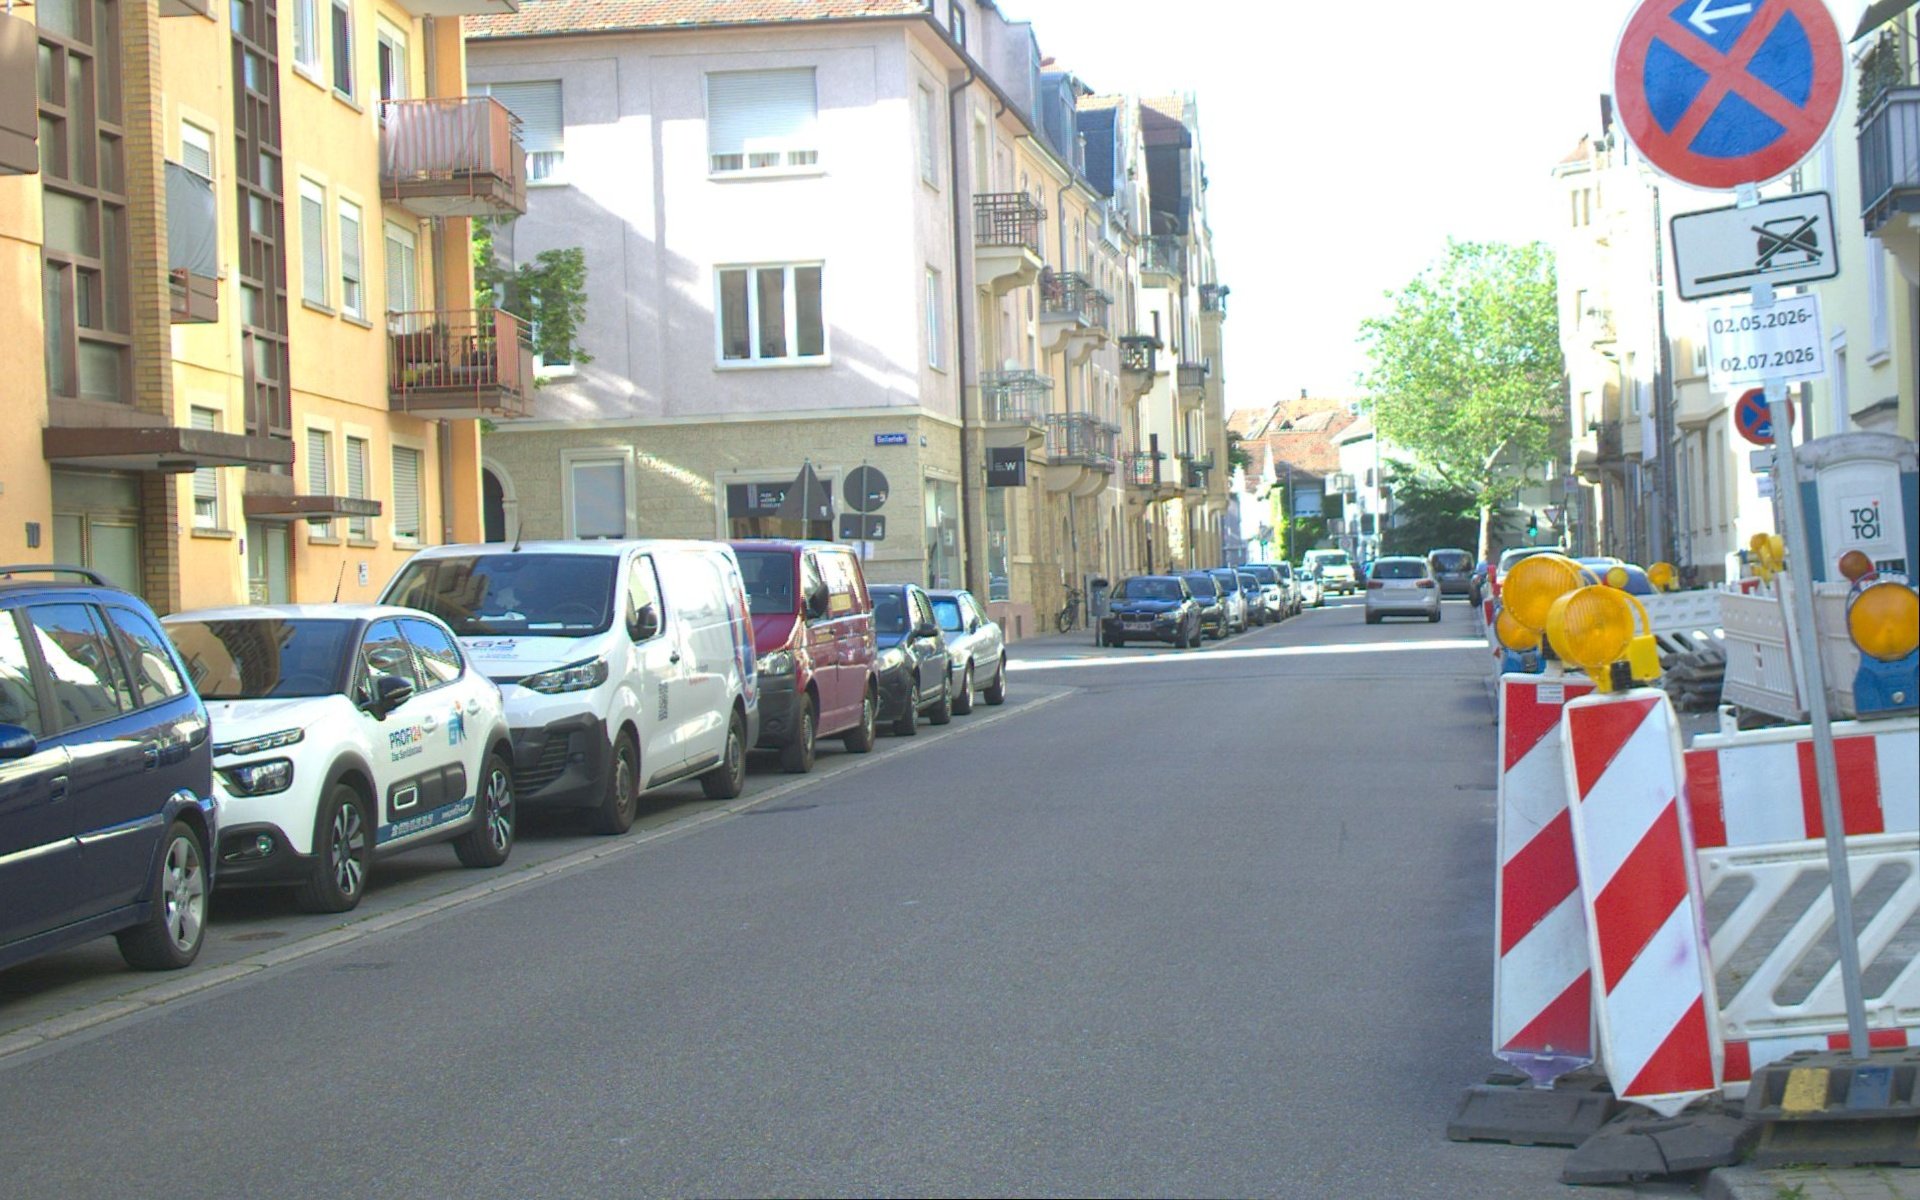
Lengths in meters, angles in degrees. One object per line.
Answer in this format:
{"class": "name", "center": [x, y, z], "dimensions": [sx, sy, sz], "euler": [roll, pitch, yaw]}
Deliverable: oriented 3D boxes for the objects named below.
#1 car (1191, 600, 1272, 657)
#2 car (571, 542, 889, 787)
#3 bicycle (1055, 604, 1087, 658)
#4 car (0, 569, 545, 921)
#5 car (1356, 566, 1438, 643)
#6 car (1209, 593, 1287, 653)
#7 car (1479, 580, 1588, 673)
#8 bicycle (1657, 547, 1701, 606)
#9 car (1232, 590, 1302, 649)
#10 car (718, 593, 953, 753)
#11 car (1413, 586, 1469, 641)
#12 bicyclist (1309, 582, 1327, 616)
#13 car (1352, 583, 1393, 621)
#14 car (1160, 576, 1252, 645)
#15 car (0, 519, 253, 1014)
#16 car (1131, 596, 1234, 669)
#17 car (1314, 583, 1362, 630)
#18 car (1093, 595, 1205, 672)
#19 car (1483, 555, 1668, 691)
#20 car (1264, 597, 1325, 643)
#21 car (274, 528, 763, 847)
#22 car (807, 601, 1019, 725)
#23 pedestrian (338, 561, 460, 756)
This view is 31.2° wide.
{"class": "car", "center": [7.450, 0.803, 94.120], "dimensions": [1.979, 1.477, 4.326], "euler": [1, -1, 7]}
{"class": "car", "center": [-1.868, 0.510, 29.545], "dimensions": [1.763, 1.918, 4.933], "euler": [0, 0, 8]}
{"class": "bicycle", "center": [2.717, 0.742, 83.760], "dimensions": [0.541, 1.297, 1.866], "euler": [0, 0, 9]}
{"class": "car", "center": [-3.591, 0.671, 18.046], "dimensions": [1.763, 1.615, 4.293], "euler": [0, 0, 8]}
{"class": "car", "center": [11.384, 0.139, 89.429], "dimensions": [2.004, 1.907, 4.485], "euler": [1, -1, 8]}
{"class": "car", "center": [8.311, 0.677, 98.794], "dimensions": [2.004, 1.613, 4.486], "euler": [1, -1, 7]}
{"class": "car", "center": [11.050, 0.545, 66.041], "dimensions": [1.914, 1.639, 4.771], "euler": [-2, -2, 10]}
{"class": "bicycle", "center": [15.669, -0.507, 74.997], "dimensions": [0.761, 1.242, 2.591], "euler": [-1, 0, 8]}
{"class": "car", "center": [9.811, 0.644, 109.668], "dimensions": [2.004, 1.782, 4.486], "euler": [1, -1, 7]}
{"class": "car", "center": [-1.204, 0.710, 35.036], "dimensions": [1.763, 1.497, 3.999], "euler": [-1, 0, 7]}
{"class": "car", "center": [18.181, 0.513, 130.087], "dimensions": [2.004, 1.993, 4.486], "euler": [1, -1, 7]}
{"class": "bicyclist", "center": [14.784, -0.030, 141.812], "dimensions": [0.662, 1.381, 0.753], "euler": [-2, -1, 7]}
{"class": "car", "center": [20.901, 0.115, 173.994], "dimensions": [2.004, 1.811, 4.486], "euler": [1, -1, 7]}
{"class": "car", "center": [6.172, 0.289, 85.716], "dimensions": [2.004, 1.613, 4.486], "euler": [1, -1, 7]}
{"class": "car", "center": [-4.226, 0.595, 12.873], "dimensions": [1.763, 1.765, 4.293], "euler": [0, 0, 8]}
{"class": "car", "center": [5.092, 0.748, 78.163], "dimensions": [2.004, 1.577, 4.486], "euler": [1, -1, 7]}
{"class": "car", "center": [16.733, 0.289, 152.008], "dimensions": [2.004, 1.993, 4.486], "euler": [1, -1, 7]}
{"class": "car", "center": [3.748, 0.668, 67.575], "dimensions": [1.680, 1.422, 4.272], "euler": [1, -1, 10]}
{"class": "car", "center": [7.401, 0.269, 41.646], "dimensions": [1.763, 1.466, 4.084], "euler": [-3, 0, 5]}
{"class": "car", "center": [12.131, 0.735, 124.507], "dimensions": [2.004, 1.600, 4.486], "euler": [1, -1, 7]}
{"class": "car", "center": [-2.832, 0.529, 23.415], "dimensions": [1.976, 1.918, 5.307], "euler": [0, 0, 8]}
{"class": "car", "center": [-0.483, 0.700, 40.276], "dimensions": [1.763, 1.373, 4.476], "euler": [0, 0, 9]}
{"class": "pedestrian", "center": [-5.292, 0.543, 32.480], "dimensions": [0.924, 1.811, 0.994], "euler": [0, 0, 5]}
